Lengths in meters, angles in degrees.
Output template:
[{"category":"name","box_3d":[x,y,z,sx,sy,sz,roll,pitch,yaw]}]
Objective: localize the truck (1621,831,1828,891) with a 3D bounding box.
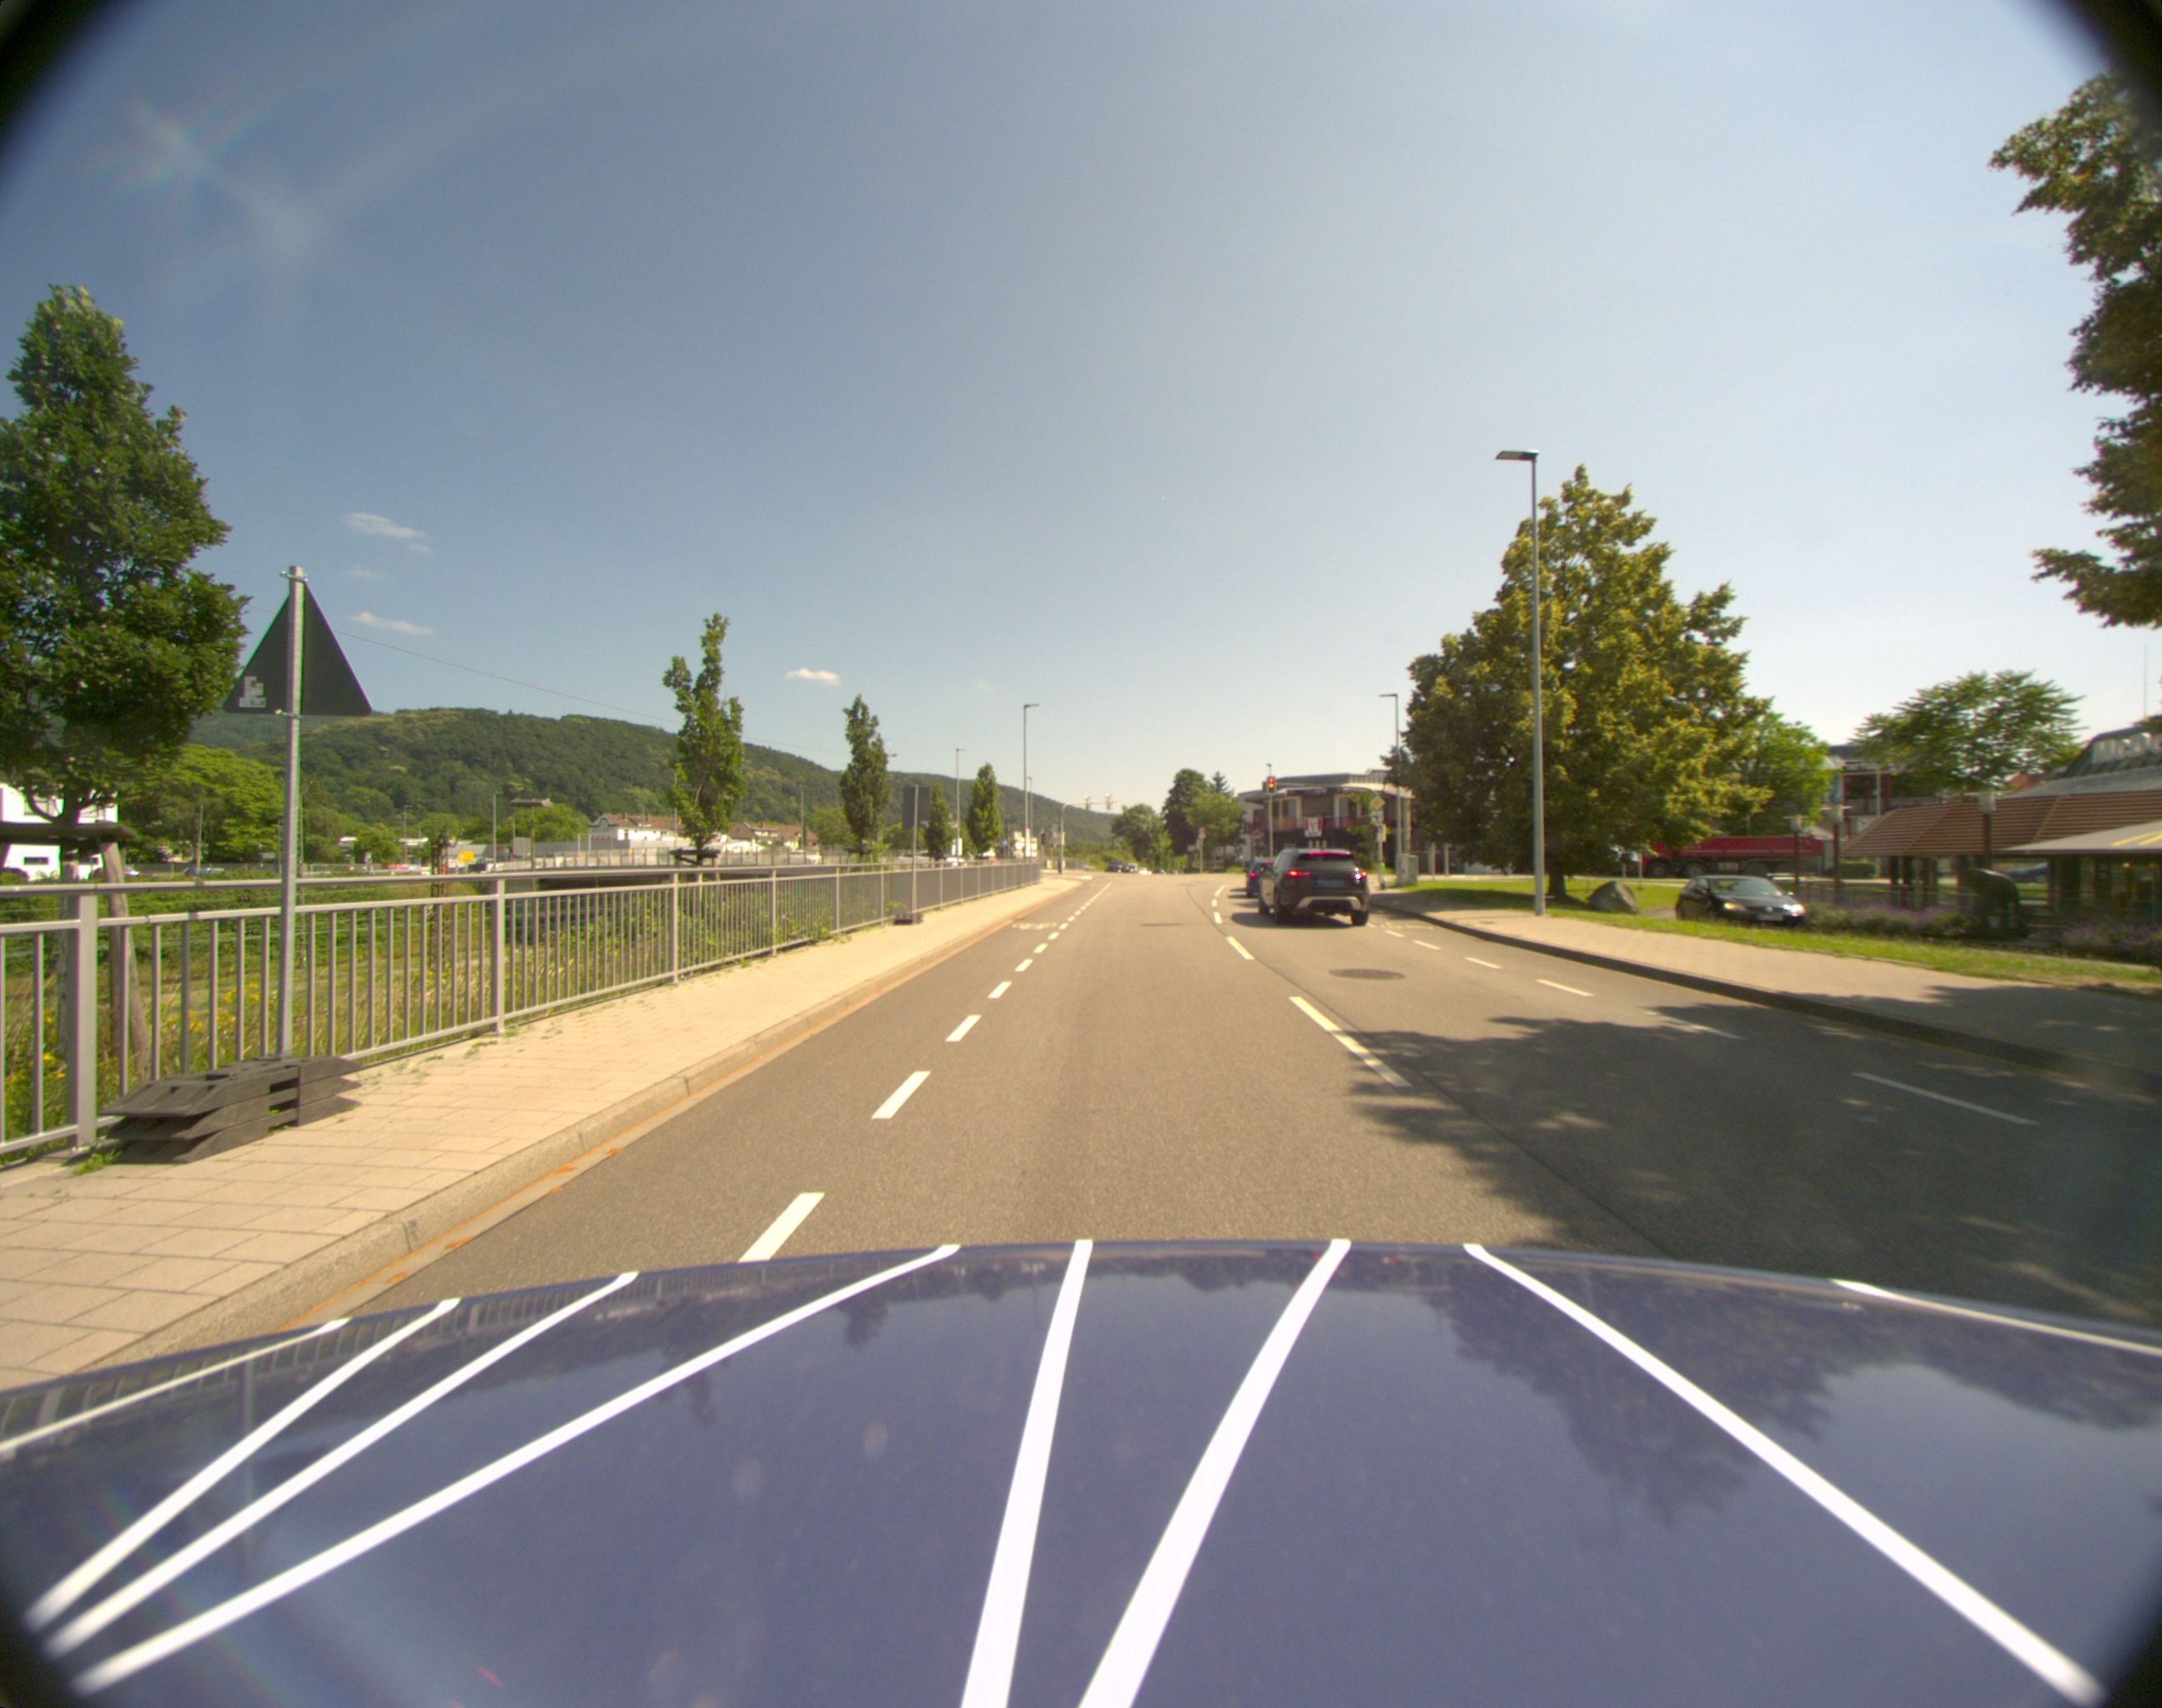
[{"category":"truck","box_3d":[38.608,0.448,46.174,9.144,3.366,3.321,-1,0,28]}]

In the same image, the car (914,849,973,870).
[{"category":"car","box_3d":[-11.707,0.449,64.852,4.621,1.709,2.004,0,0,24]}]

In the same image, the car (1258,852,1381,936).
[{"category":"car","box_3d":[5.330,0.807,17.604,1.954,1.685,4.616,0,0,7]}]

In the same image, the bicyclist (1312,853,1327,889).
[{"category":"bicyclist","box_3d":[11.742,0.821,37.410,0.711,1.778,0.810,0,0,17]}]

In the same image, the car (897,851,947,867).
[{"category":"car","box_3d":[-14.662,0.442,70.181,4.398,1.461,1.740,0,0,28]}]

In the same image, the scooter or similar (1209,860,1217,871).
[{"category":"scooter or similar","box_3d":[12.721,1.094,73.323,0.426,1.117,1.454,0,0,22]}]

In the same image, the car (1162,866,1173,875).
[{"category":"car","box_3d":[16.467,3.177,144.540,1.671,1.523,4.004,-4,-1,11]}]

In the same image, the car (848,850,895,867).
[{"category":"car","box_3d":[-20.253,0.453,73.449,4.430,1.617,1.740,0,0,28]}]

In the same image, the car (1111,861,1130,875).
[{"category":"car","box_3d":[4.702,1.599,89.420,1.828,1.617,4.240,0,0,9]}]

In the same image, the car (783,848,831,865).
[{"category":"car","box_3d":[-27.752,0.251,76.987,4.432,1.617,1.739,0,0,20]}]

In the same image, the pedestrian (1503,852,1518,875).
[{"category":"pedestrian","box_3d":[30.850,0.650,54.567,0.843,1.636,0.731,0,0,-42]}]

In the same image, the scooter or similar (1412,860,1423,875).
[{"category":"scooter or similar","box_3d":[26.735,1.063,60.369,0.499,1.117,1.507,0,0,37]}]

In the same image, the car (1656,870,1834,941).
[{"category":"car","box_3d":[16.909,1.226,19.645,1.862,1.543,4.194,0,0,16]}]

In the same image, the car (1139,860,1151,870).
[{"category":"car","box_3d":[9.834,1.644,117.000,1.671,1.524,4.003,0,0,8]}]

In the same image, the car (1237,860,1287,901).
[{"category":"car","box_3d":[6.730,0.927,28.013,1.658,1.373,4.005,0,0,15]}]

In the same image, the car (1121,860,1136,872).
[{"category":"car","box_3d":[6.194,1.561,99.362,1.671,1.524,4.003,0,0,8]}]

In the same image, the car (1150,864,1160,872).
[{"category":"car","box_3d":[13.128,2.486,134.180,1.671,1.427,4.003,0,0,8]}]

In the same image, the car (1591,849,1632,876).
[{"category":"car","box_3d":[37.937,0.566,54.430,1.804,1.844,4.668,0,0,28]}]

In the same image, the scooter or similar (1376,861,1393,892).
[{"category":"scooter or similar","box_3d":[11.880,0.870,29.804,0.472,1.177,1.367,0,0,16]}]

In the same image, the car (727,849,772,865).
[{"category":"car","box_3d":[-35.086,0.307,80.344,4.432,1.617,1.740,-1,0,22]}]

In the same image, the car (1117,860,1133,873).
[{"category":"car","box_3d":[5.481,1.538,94.322,1.671,1.524,4.003,0,0,8]}]

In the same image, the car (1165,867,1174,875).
[{"category":"car","box_3d":[17.600,3.274,150.770,1.671,1.524,4.003,0,0,8]}]

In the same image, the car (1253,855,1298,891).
[{"category":"car","box_3d":[8.602,0.806,33.778,1.782,1.488,4.728,0,0,14]}]
